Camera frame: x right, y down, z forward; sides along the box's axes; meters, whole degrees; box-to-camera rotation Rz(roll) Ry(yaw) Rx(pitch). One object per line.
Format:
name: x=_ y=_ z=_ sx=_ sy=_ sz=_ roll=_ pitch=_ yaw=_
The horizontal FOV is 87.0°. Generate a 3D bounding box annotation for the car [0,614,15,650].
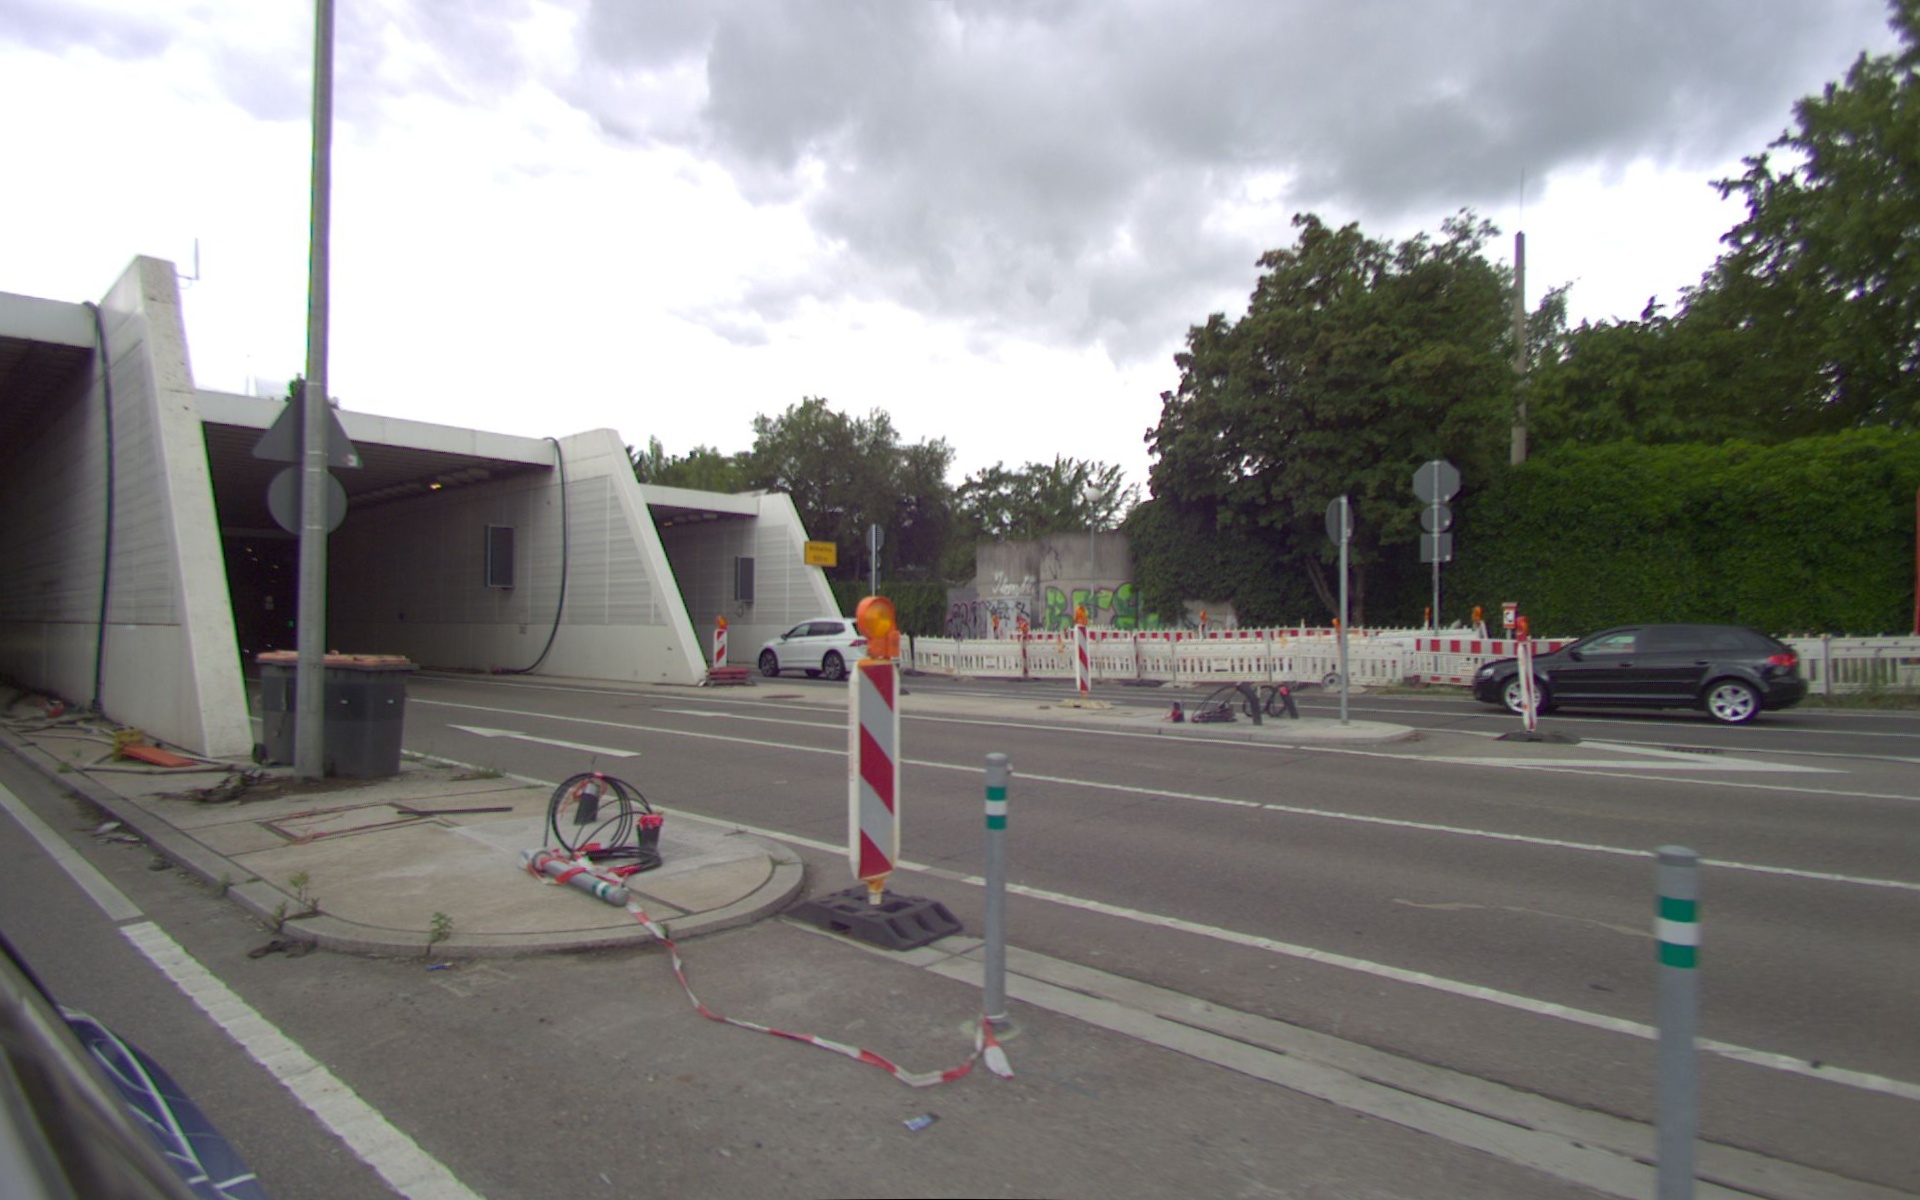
car: x=-54.462 y=1.807 z=56.152 sx=1.965 sy=2.029 sz=4.013 roll=0 pitch=-1 yaw=-28

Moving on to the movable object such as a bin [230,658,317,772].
movable object such as a bin: x=-6.621 y=1.084 z=9.760 sx=0.546 sy=1.016 sz=0.547 roll=-1 pitch=-1 yaw=37

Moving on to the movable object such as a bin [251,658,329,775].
movable object such as a bin: x=-6.242 y=1.065 z=9.432 sx=0.423 sy=1.024 sz=0.484 roll=-1 pitch=-1 yaw=36

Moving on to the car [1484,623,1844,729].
car: x=10.339 y=1.037 z=15.111 sx=4.191 sy=1.360 sz=1.844 roll=-1 pitch=-2 yaw=39

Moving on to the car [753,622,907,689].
car: x=-3.634 y=1.459 z=27.796 sx=4.375 sy=1.674 sz=1.827 roll=-2 pitch=-2 yaw=43
